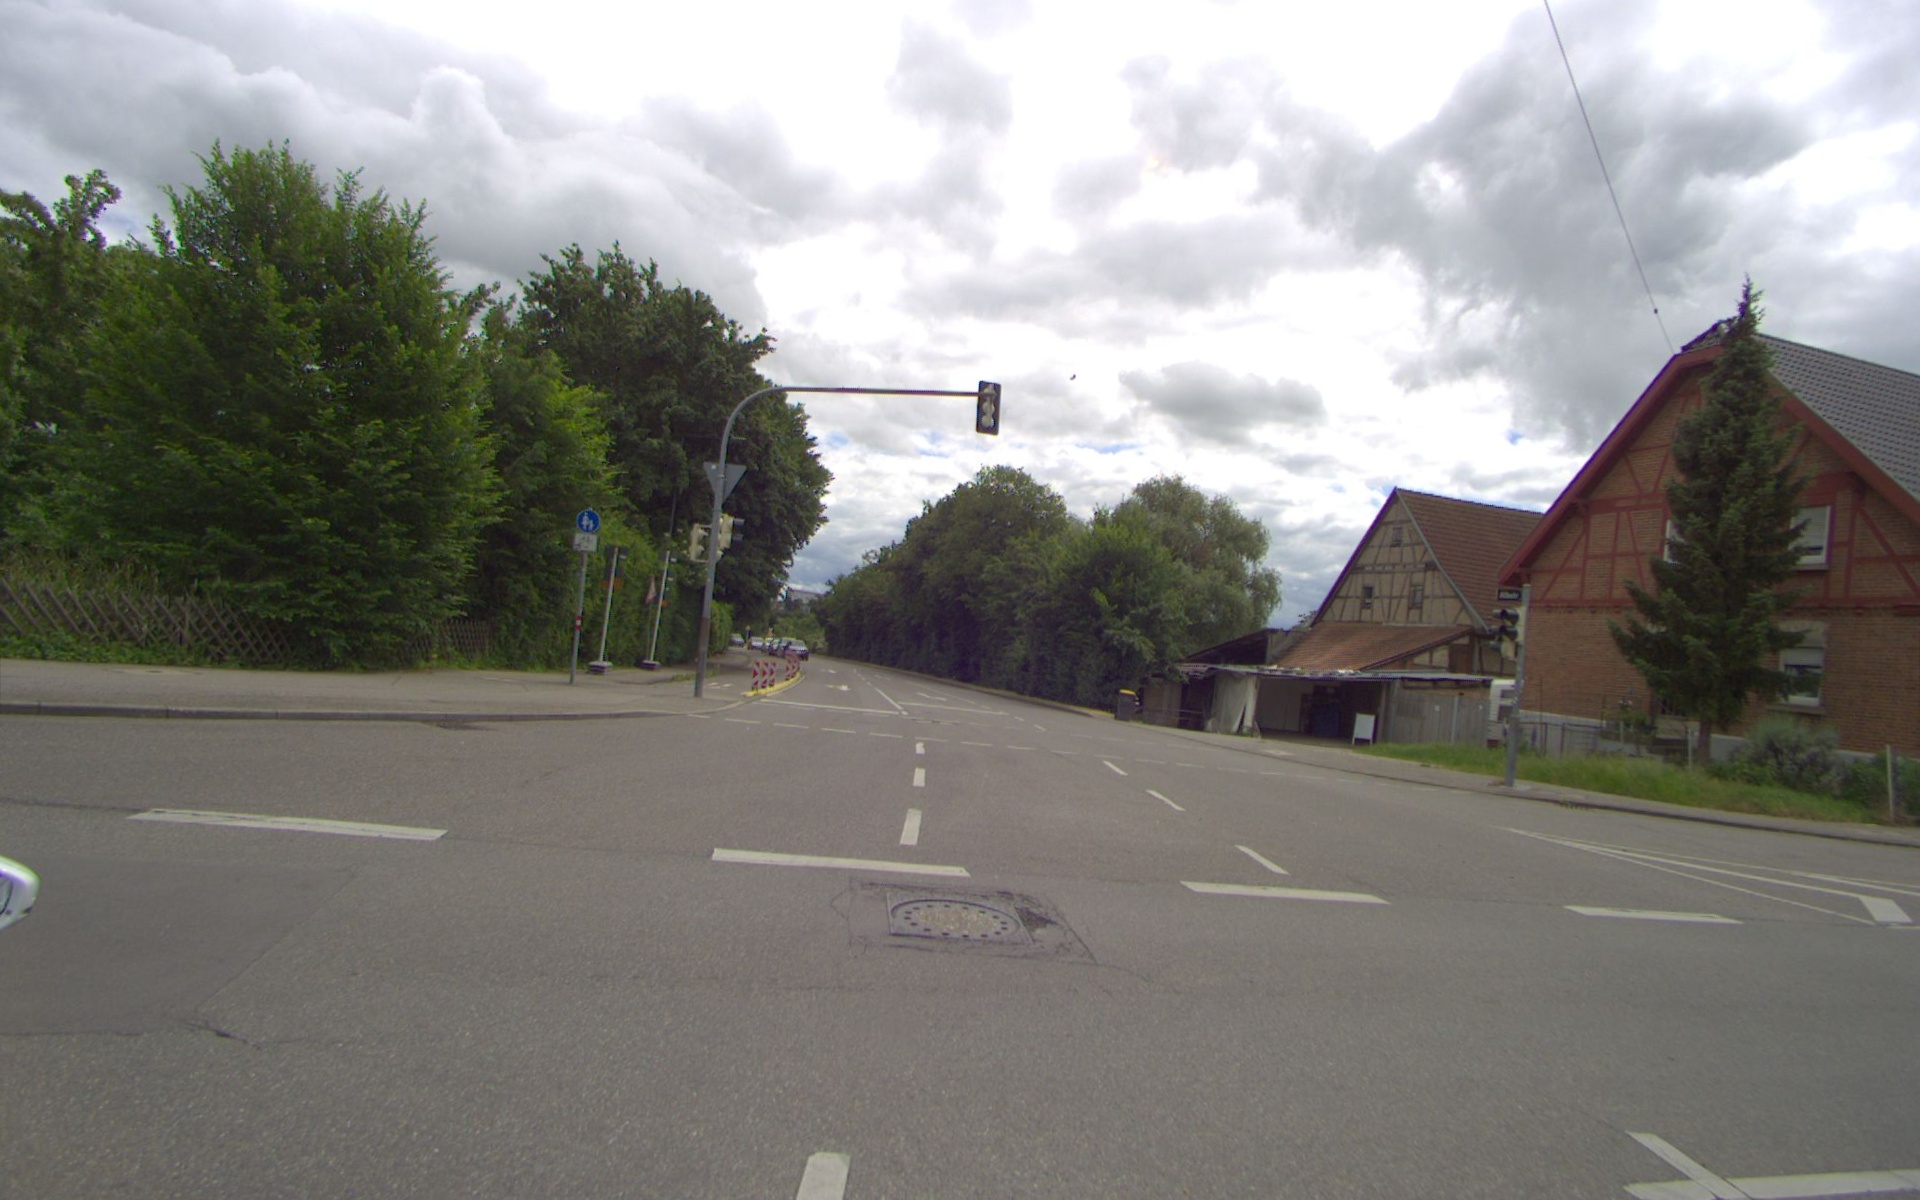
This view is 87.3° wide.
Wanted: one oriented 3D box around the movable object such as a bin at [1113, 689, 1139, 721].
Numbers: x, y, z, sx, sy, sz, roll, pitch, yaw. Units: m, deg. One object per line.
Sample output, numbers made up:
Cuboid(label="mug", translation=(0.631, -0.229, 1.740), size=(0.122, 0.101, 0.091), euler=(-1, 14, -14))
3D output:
Cuboid(label="movable object such as a bin", translation=(5.091, 3.219, 30.854), size=(0.582, 0.917, 0.602), euler=(5, -1, 24))

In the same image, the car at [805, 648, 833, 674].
Cuboid(label="car", translation=(-11.560, 4.971, 82.302), size=(1.966, 1.770, 3.996), euler=(6, -2, -10))
